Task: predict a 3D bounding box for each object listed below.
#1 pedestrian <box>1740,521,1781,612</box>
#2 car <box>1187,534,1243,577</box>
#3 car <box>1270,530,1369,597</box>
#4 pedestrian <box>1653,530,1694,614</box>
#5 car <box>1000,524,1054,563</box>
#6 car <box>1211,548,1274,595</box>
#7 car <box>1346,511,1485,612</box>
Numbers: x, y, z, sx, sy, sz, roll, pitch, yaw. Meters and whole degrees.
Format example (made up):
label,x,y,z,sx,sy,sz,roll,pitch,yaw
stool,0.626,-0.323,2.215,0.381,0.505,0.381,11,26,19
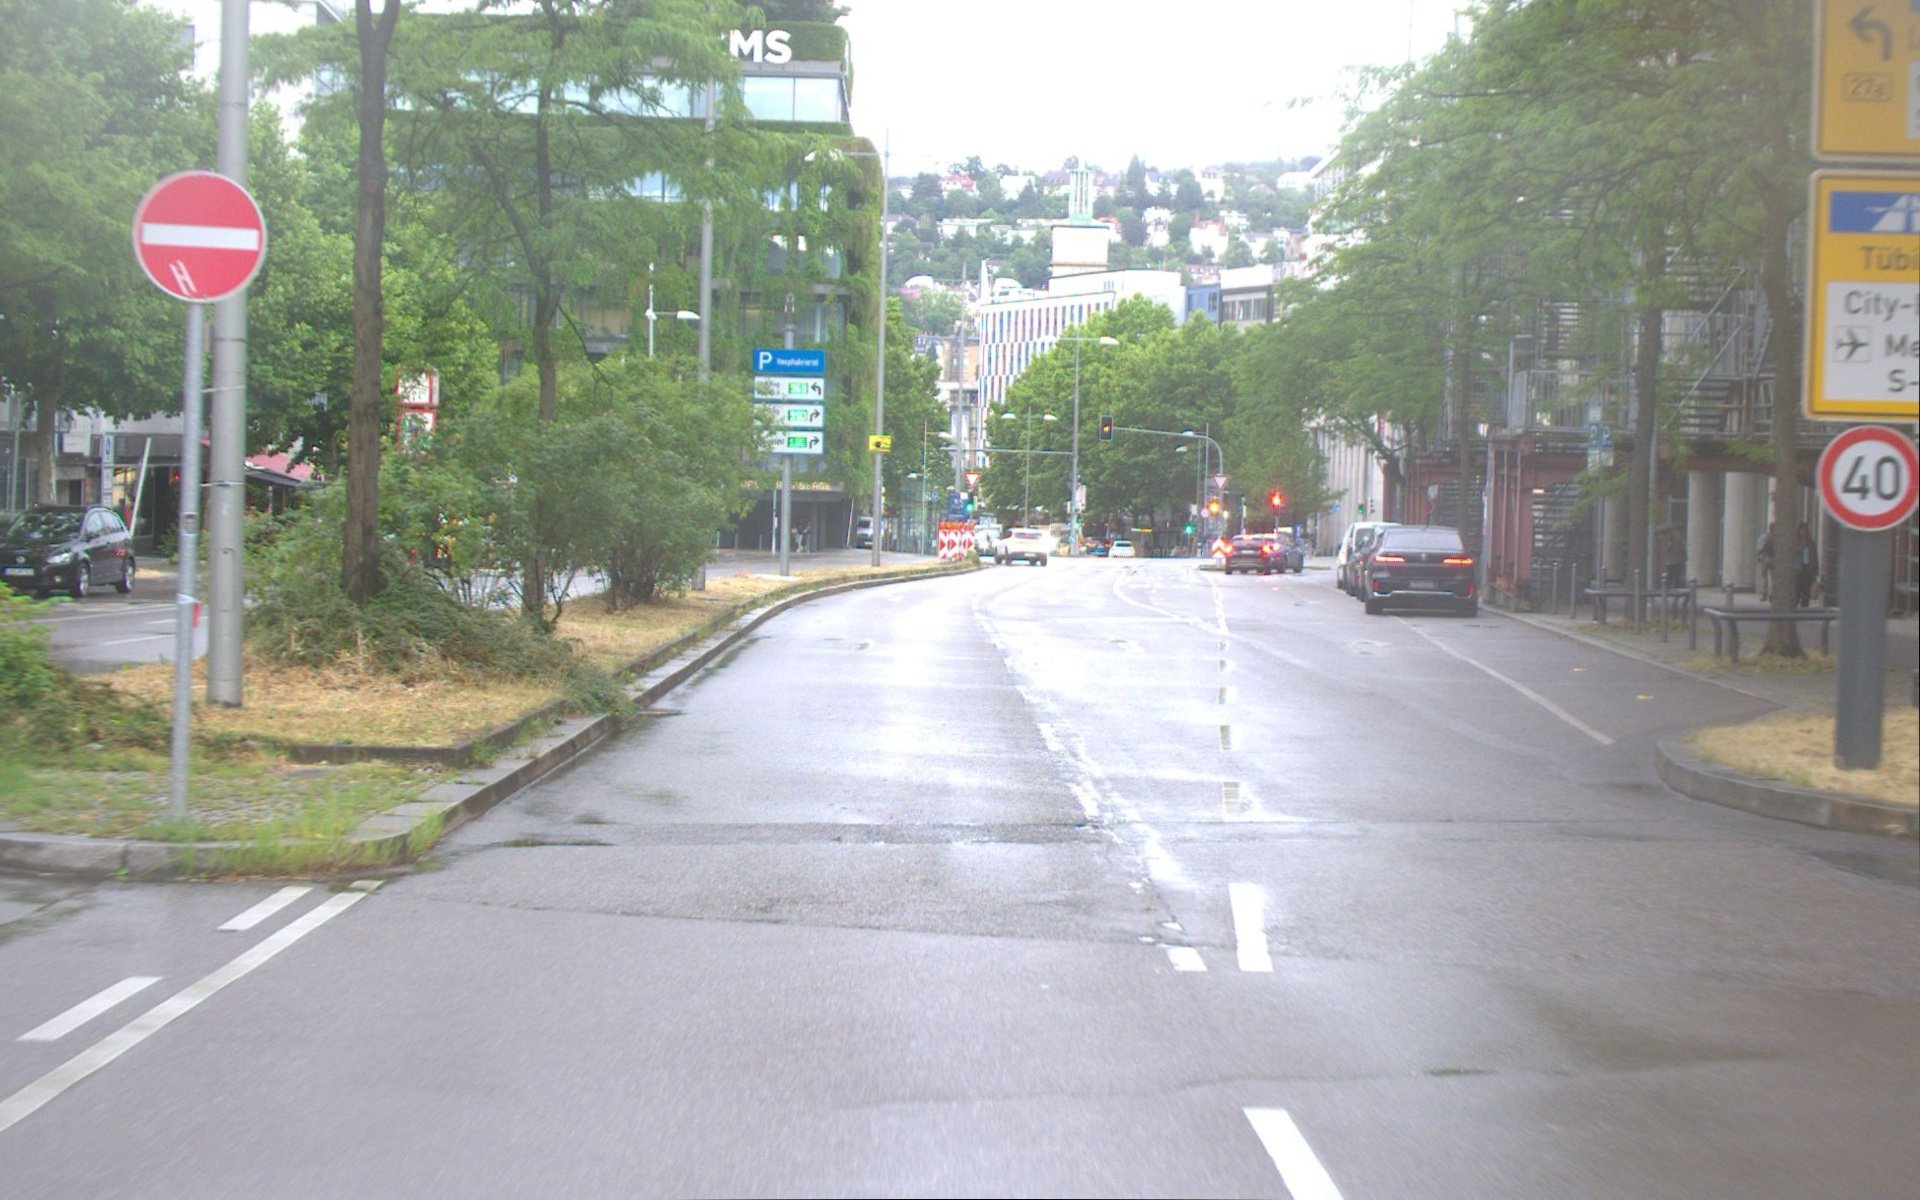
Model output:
label,x,y,z,sx,sy,sz,roll,pitch,yaw
pedestrian,17.130,-0.709,73.593,0.775,1.914,0.702,1,0,10
car,10.680,-1.860,144.325,1.993,1.730,4.000,1,0,-1
car,8.289,-0.851,79.542,1.844,1.487,4.000,1,1,0
pedestrian,16.496,-0.646,79.498,0.775,1.914,0.702,1,0,-1
car,2.957,-2.521,153.157,1.828,1.634,4.301,2,0,-6
car,10.935,-1.095,133.132,1.993,1.718,4.000,1,0,-1
car,8.031,-0.689,60.929,2.339,1.685,3.999,1,1,6
